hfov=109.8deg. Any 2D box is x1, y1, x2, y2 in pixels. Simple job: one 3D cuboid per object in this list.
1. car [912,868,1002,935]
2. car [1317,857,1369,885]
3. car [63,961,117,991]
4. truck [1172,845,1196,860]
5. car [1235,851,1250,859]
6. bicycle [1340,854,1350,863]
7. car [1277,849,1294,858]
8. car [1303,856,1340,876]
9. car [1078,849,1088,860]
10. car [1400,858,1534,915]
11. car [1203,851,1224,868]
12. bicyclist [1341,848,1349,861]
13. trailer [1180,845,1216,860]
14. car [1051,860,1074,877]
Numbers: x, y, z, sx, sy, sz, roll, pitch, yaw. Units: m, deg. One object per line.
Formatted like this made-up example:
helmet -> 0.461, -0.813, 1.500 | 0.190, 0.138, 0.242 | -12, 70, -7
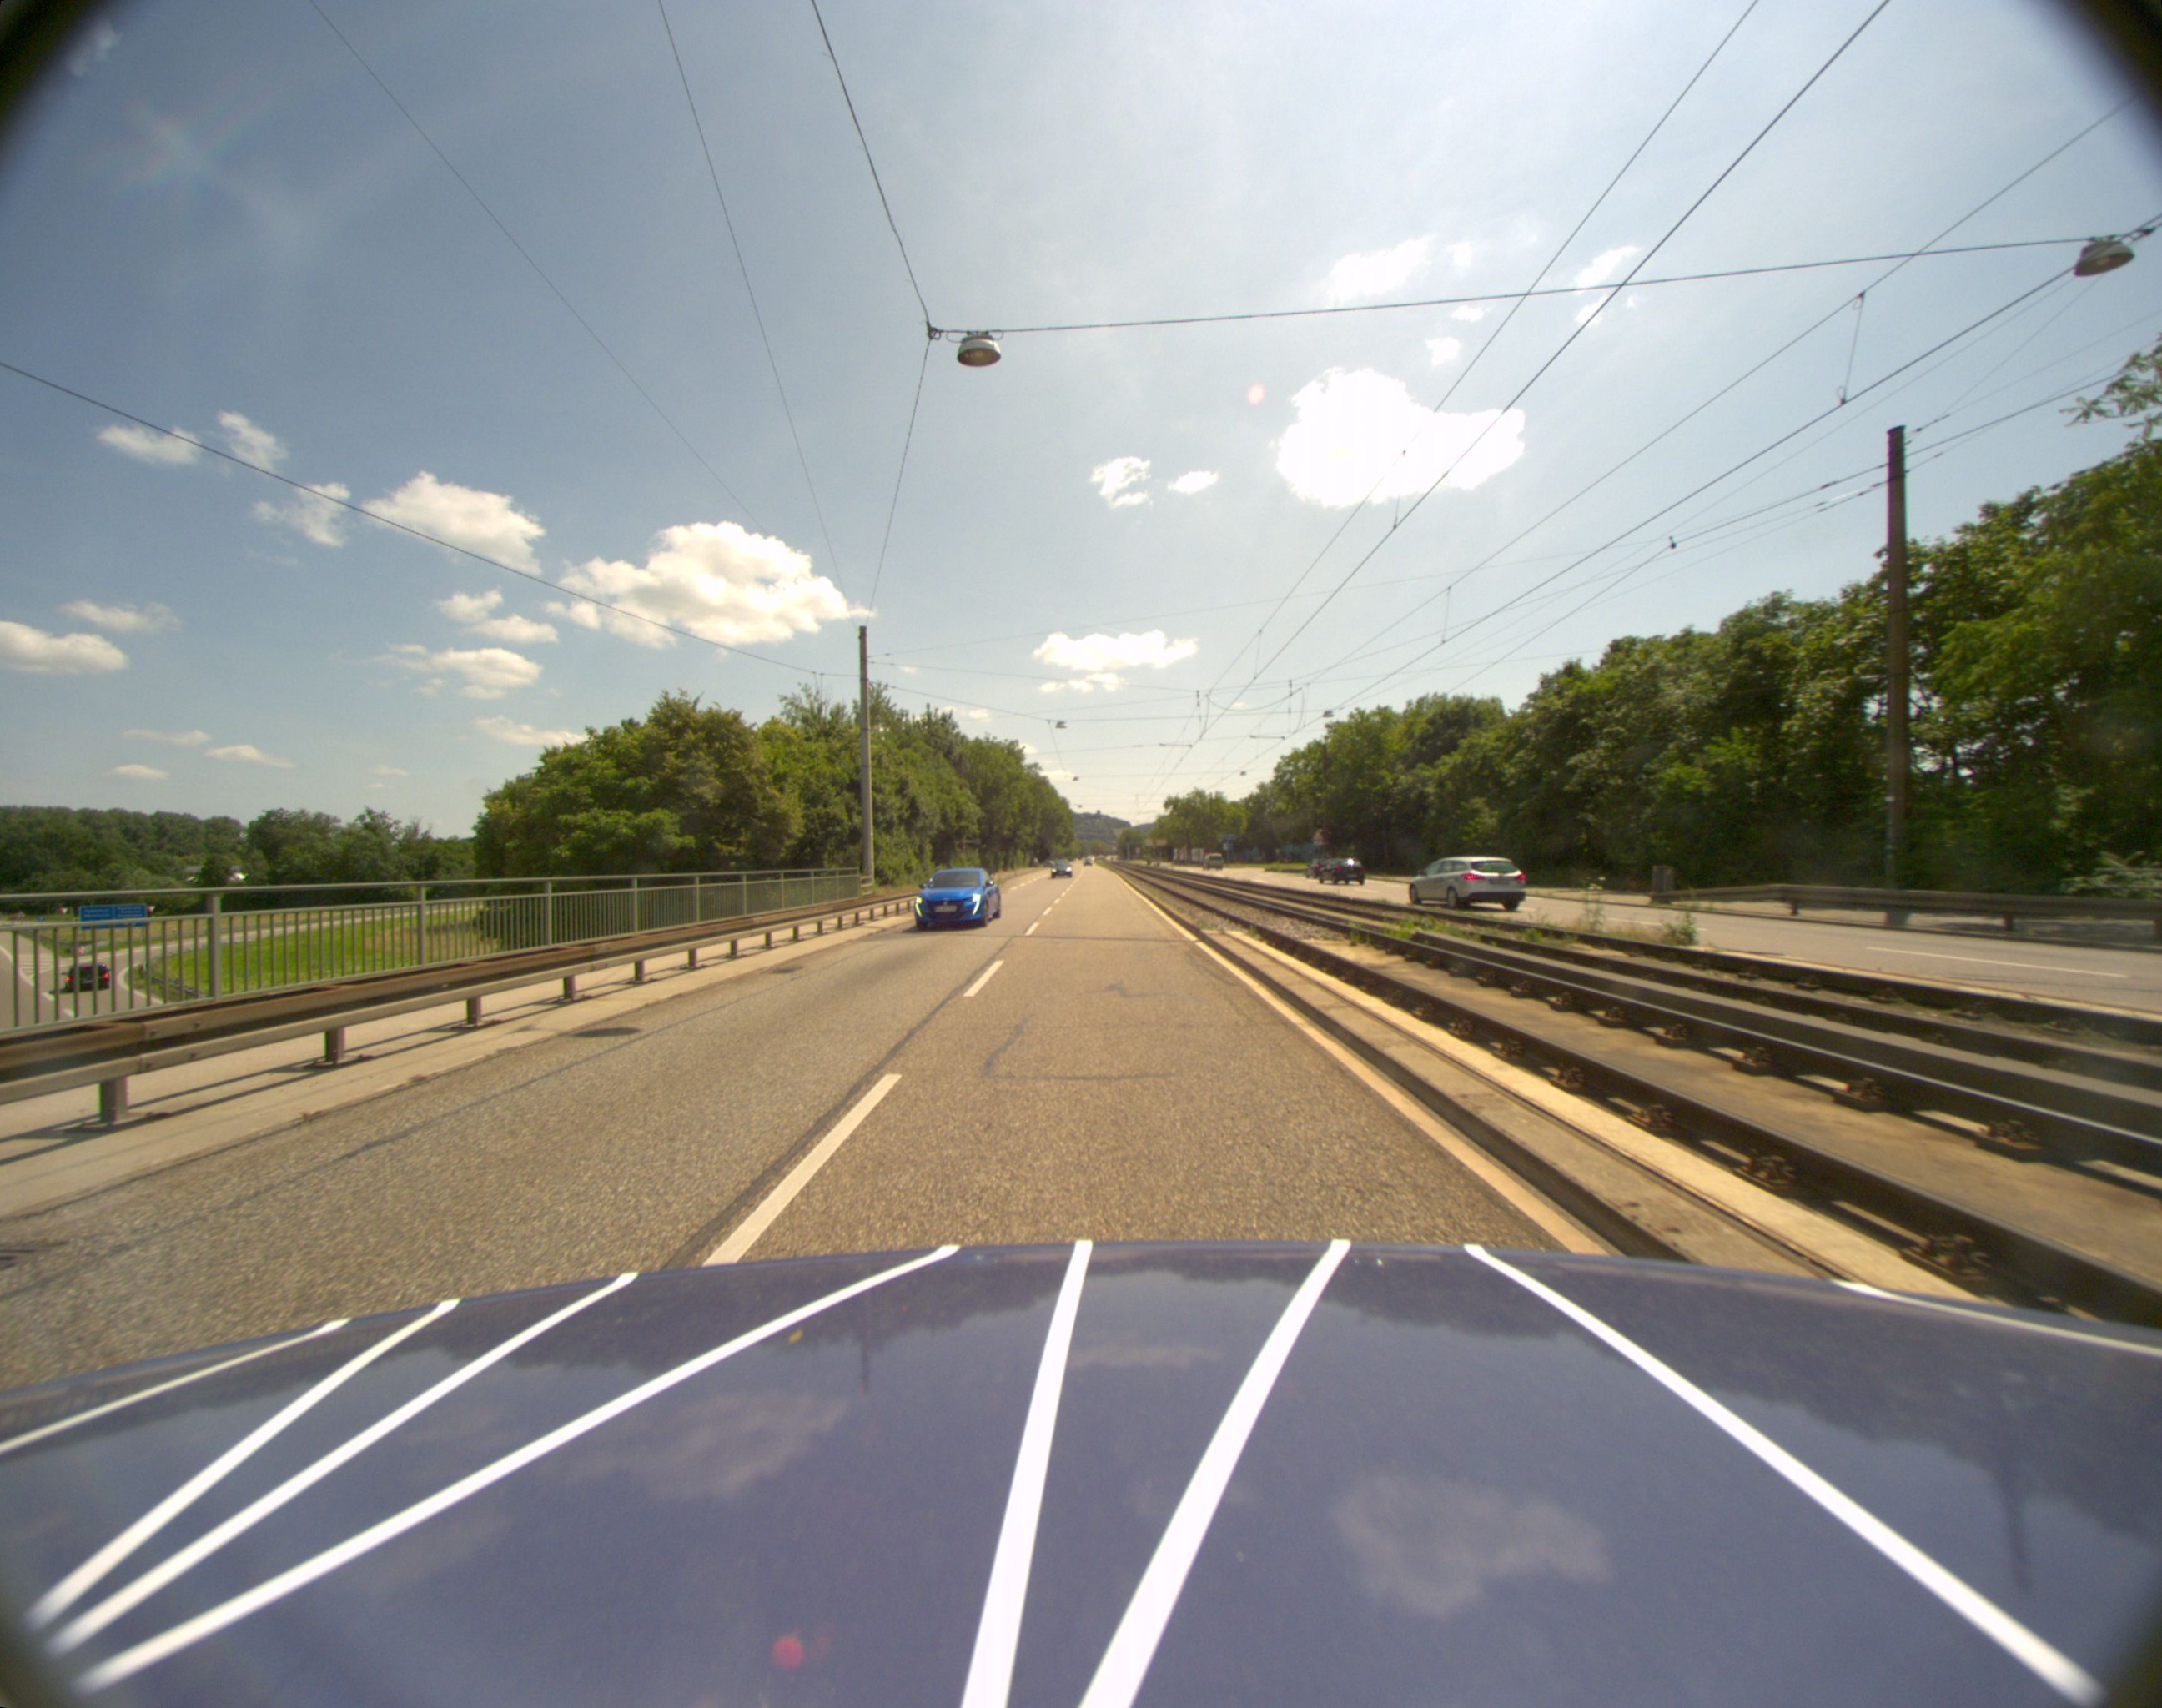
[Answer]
car -> -3.107, 1.153, 19.756 | 1.660, 1.397, 3.743 | -2, 1, 0
car -> 14.619, 0.905, 42.577 | 1.578, 1.392, 3.938 | -1, 1, 1
car -> -72.229, 8.883, 55.363 | 3.991, 1.783, 2.007 | -6, 1, 33
truck -> 26.106, -0.435, 192.733 | 3.421, 3.680, 6.748 | -1, 0, -19
car -> 35.569, 0.216, 167.216 | 1.567, 1.781, 3.392 | -1, 0, -25
bicycle -> 28.236, 0.468, 81.277 | 0.587, 0.814, 2.069 | -3, 1, 7
car -> 41.539, -0.043, 154.531 | 1.567, 1.781, 3.392 | -1, 0, -25
car -> 17.377, 0.840, 55.119 | 1.567, 1.339, 3.929 | 0, 1, 2
car -> 0.485, 0.094, 160.369 | 1.998, 2.002, 3.999 | -2, 1, 0
car -> 11.154, 0.875, 22.364 | 1.715, 1.412, 4.624 | 0, 1, 2
car -> 15.809, 0.602, 90.842 | 1.816, 1.914, 5.179 | 0, 1, 2
bicyclist -> 28.225, 0.006, 81.287 | 0.570, 1.360, 0.631 | -3, 2, 7
trailer -> 28.540, -0.376, 185.523 | 3.391, 3.633, 12.089 | -1, 0, -19
car -> -1.610, 1.258, 66.678 | 1.769, 1.359, 3.743 | -2, 1, 1
